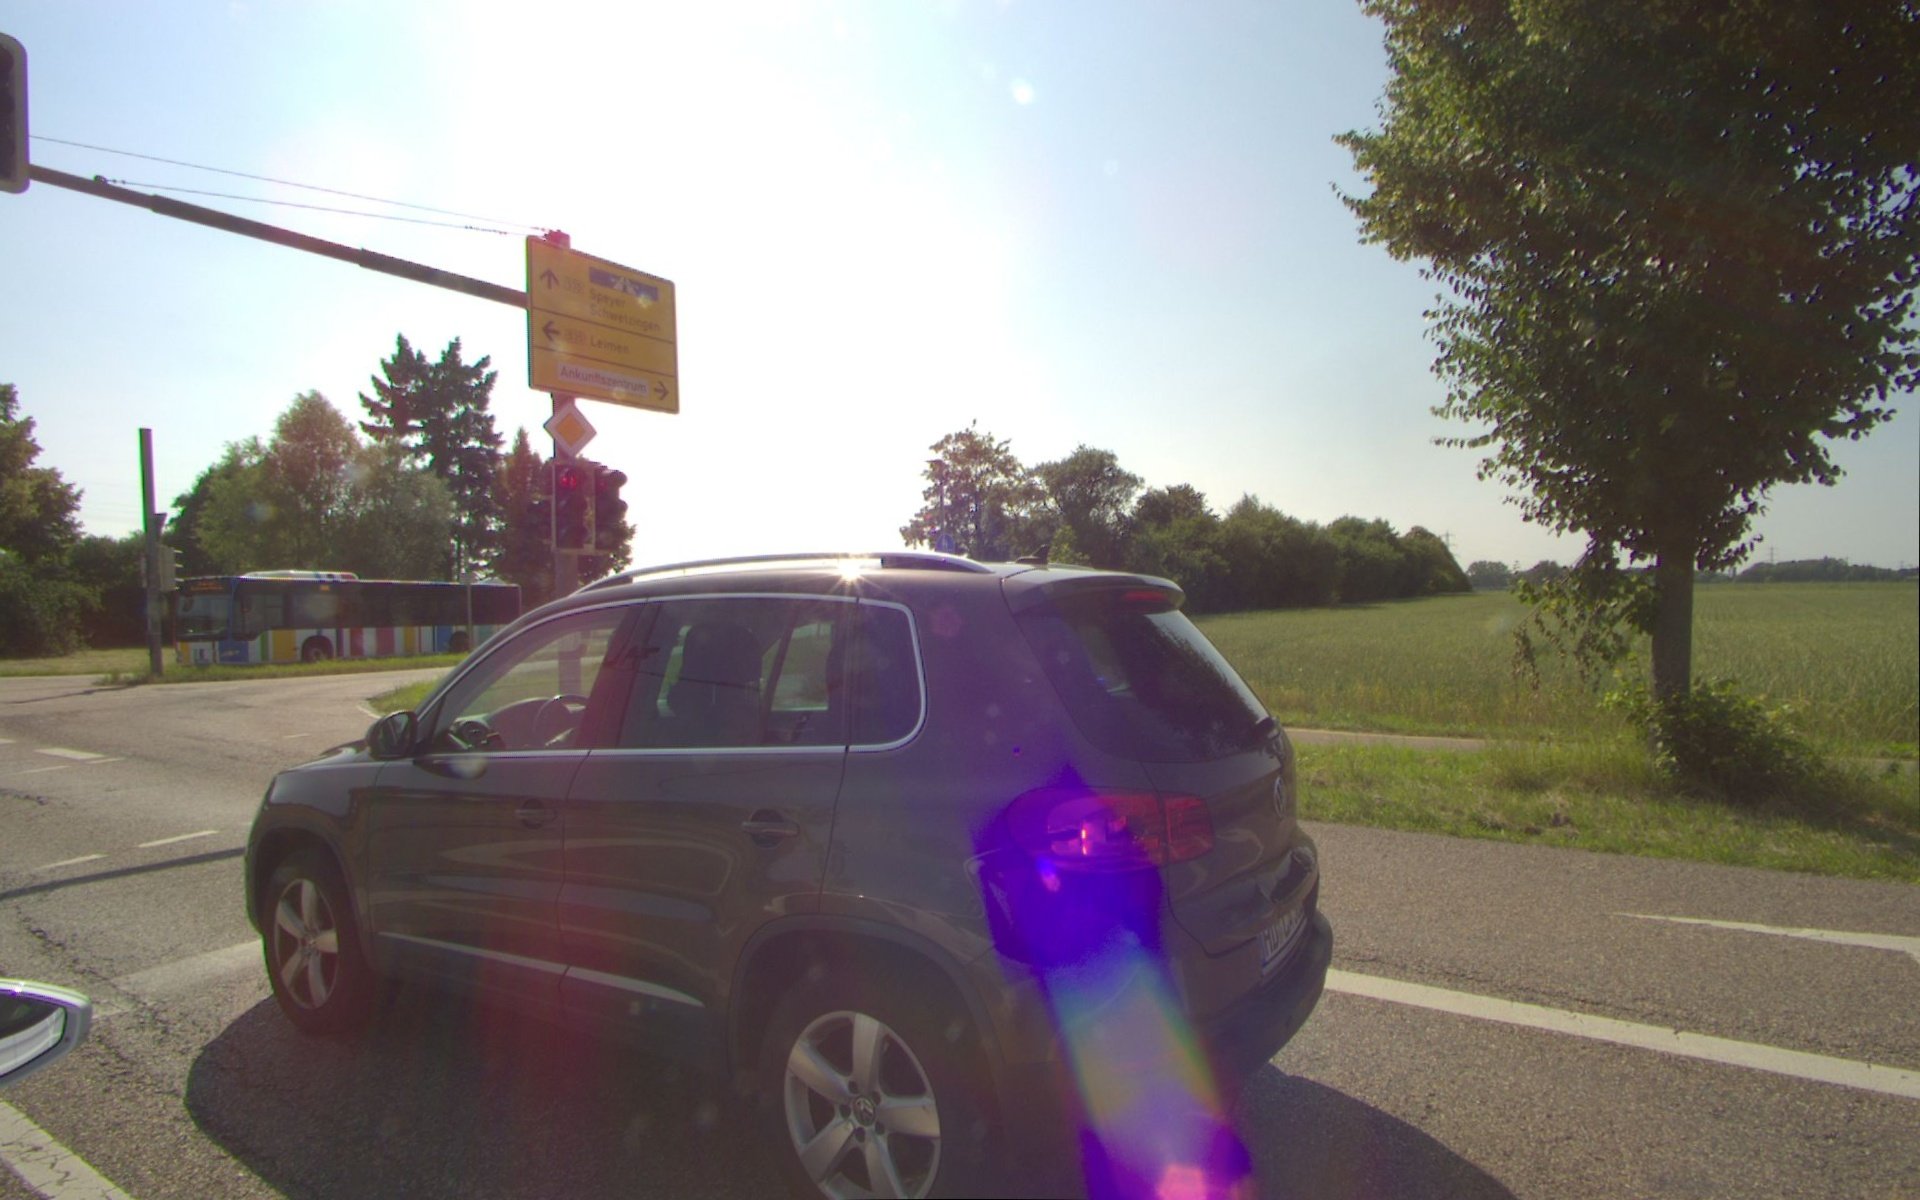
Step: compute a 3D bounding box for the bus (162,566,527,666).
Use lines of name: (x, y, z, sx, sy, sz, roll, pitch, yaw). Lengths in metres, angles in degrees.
bus: (-20.650, 0.423, 35.168, 2.889, 2.916, 11.955, -1, 0, 17)

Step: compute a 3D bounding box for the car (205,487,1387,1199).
car: (-0.783, 0.690, 3.620, 4.086, 1.677, 1.753, -1, -2, 32)
